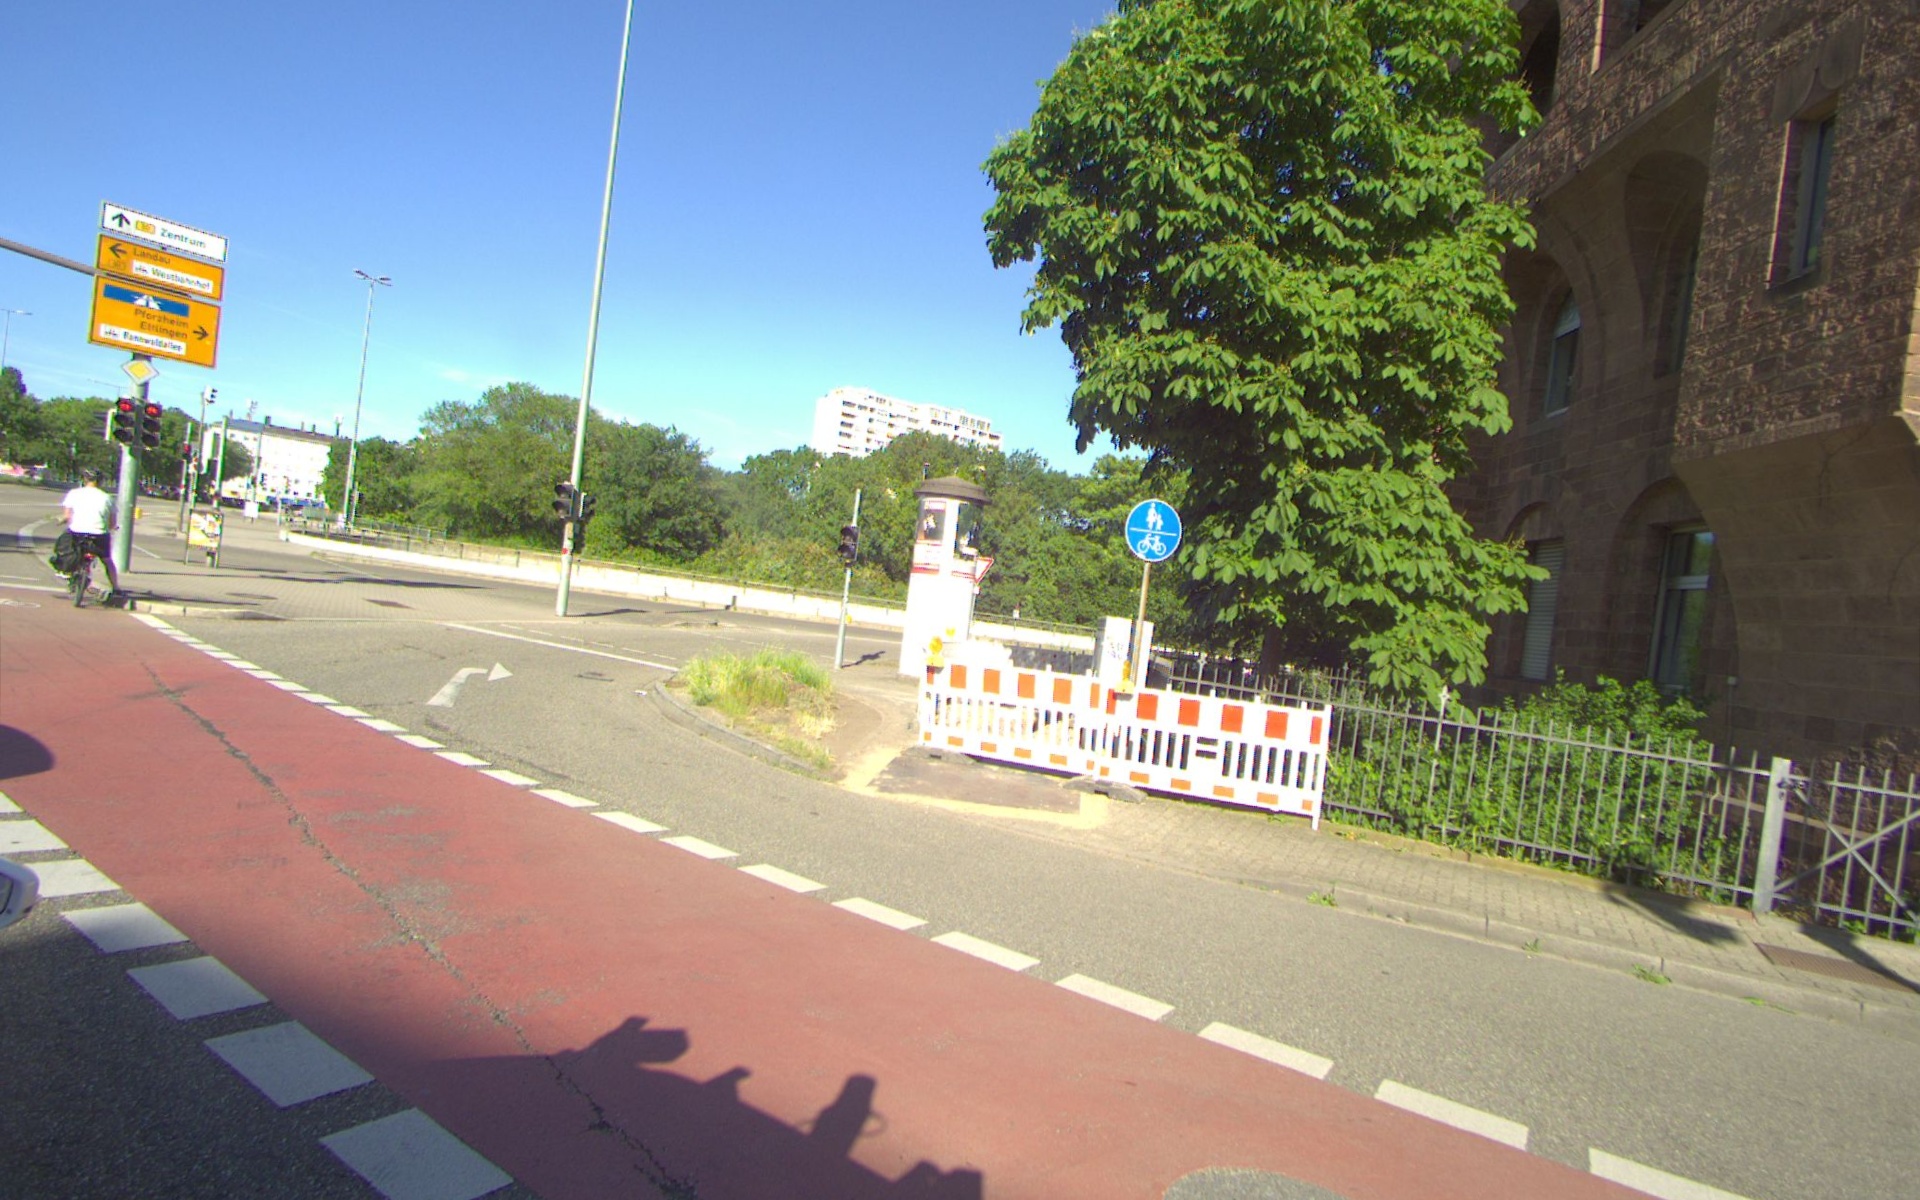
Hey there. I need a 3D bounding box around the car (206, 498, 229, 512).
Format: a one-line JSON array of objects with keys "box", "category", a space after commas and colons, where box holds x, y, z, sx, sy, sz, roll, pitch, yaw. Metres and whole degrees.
[{"box": [-101.706, -13.030, 137.865, 1.930, 1.547, 4.065, 7, 0, -29], "category": "car"}]

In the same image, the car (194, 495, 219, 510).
[{"box": [-96.960, -12.478, 129.479, 1.930, 1.547, 4.065, 7, 0, -29], "category": "car"}]

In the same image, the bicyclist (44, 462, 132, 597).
[{"box": [-11.894, -0.967, 13.722, 0.722, 1.680, 1.099, 8, 1, -43], "category": "bicyclist"}]

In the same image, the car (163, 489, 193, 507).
[{"box": [-85.778, -11.132, 110.373, 1.930, 1.547, 4.065, 7, 0, -29], "category": "car"}]

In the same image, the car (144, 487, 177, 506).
[{"box": [-82.744, -10.666, 104.172, 1.931, 1.547, 4.064, 7, 0, -30], "category": "car"}]

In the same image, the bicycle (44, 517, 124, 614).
[{"box": [-12.036, -0.494, 13.805, 0.689, 1.115, 1.804, 8, 0, -43], "category": "bicycle"}]
